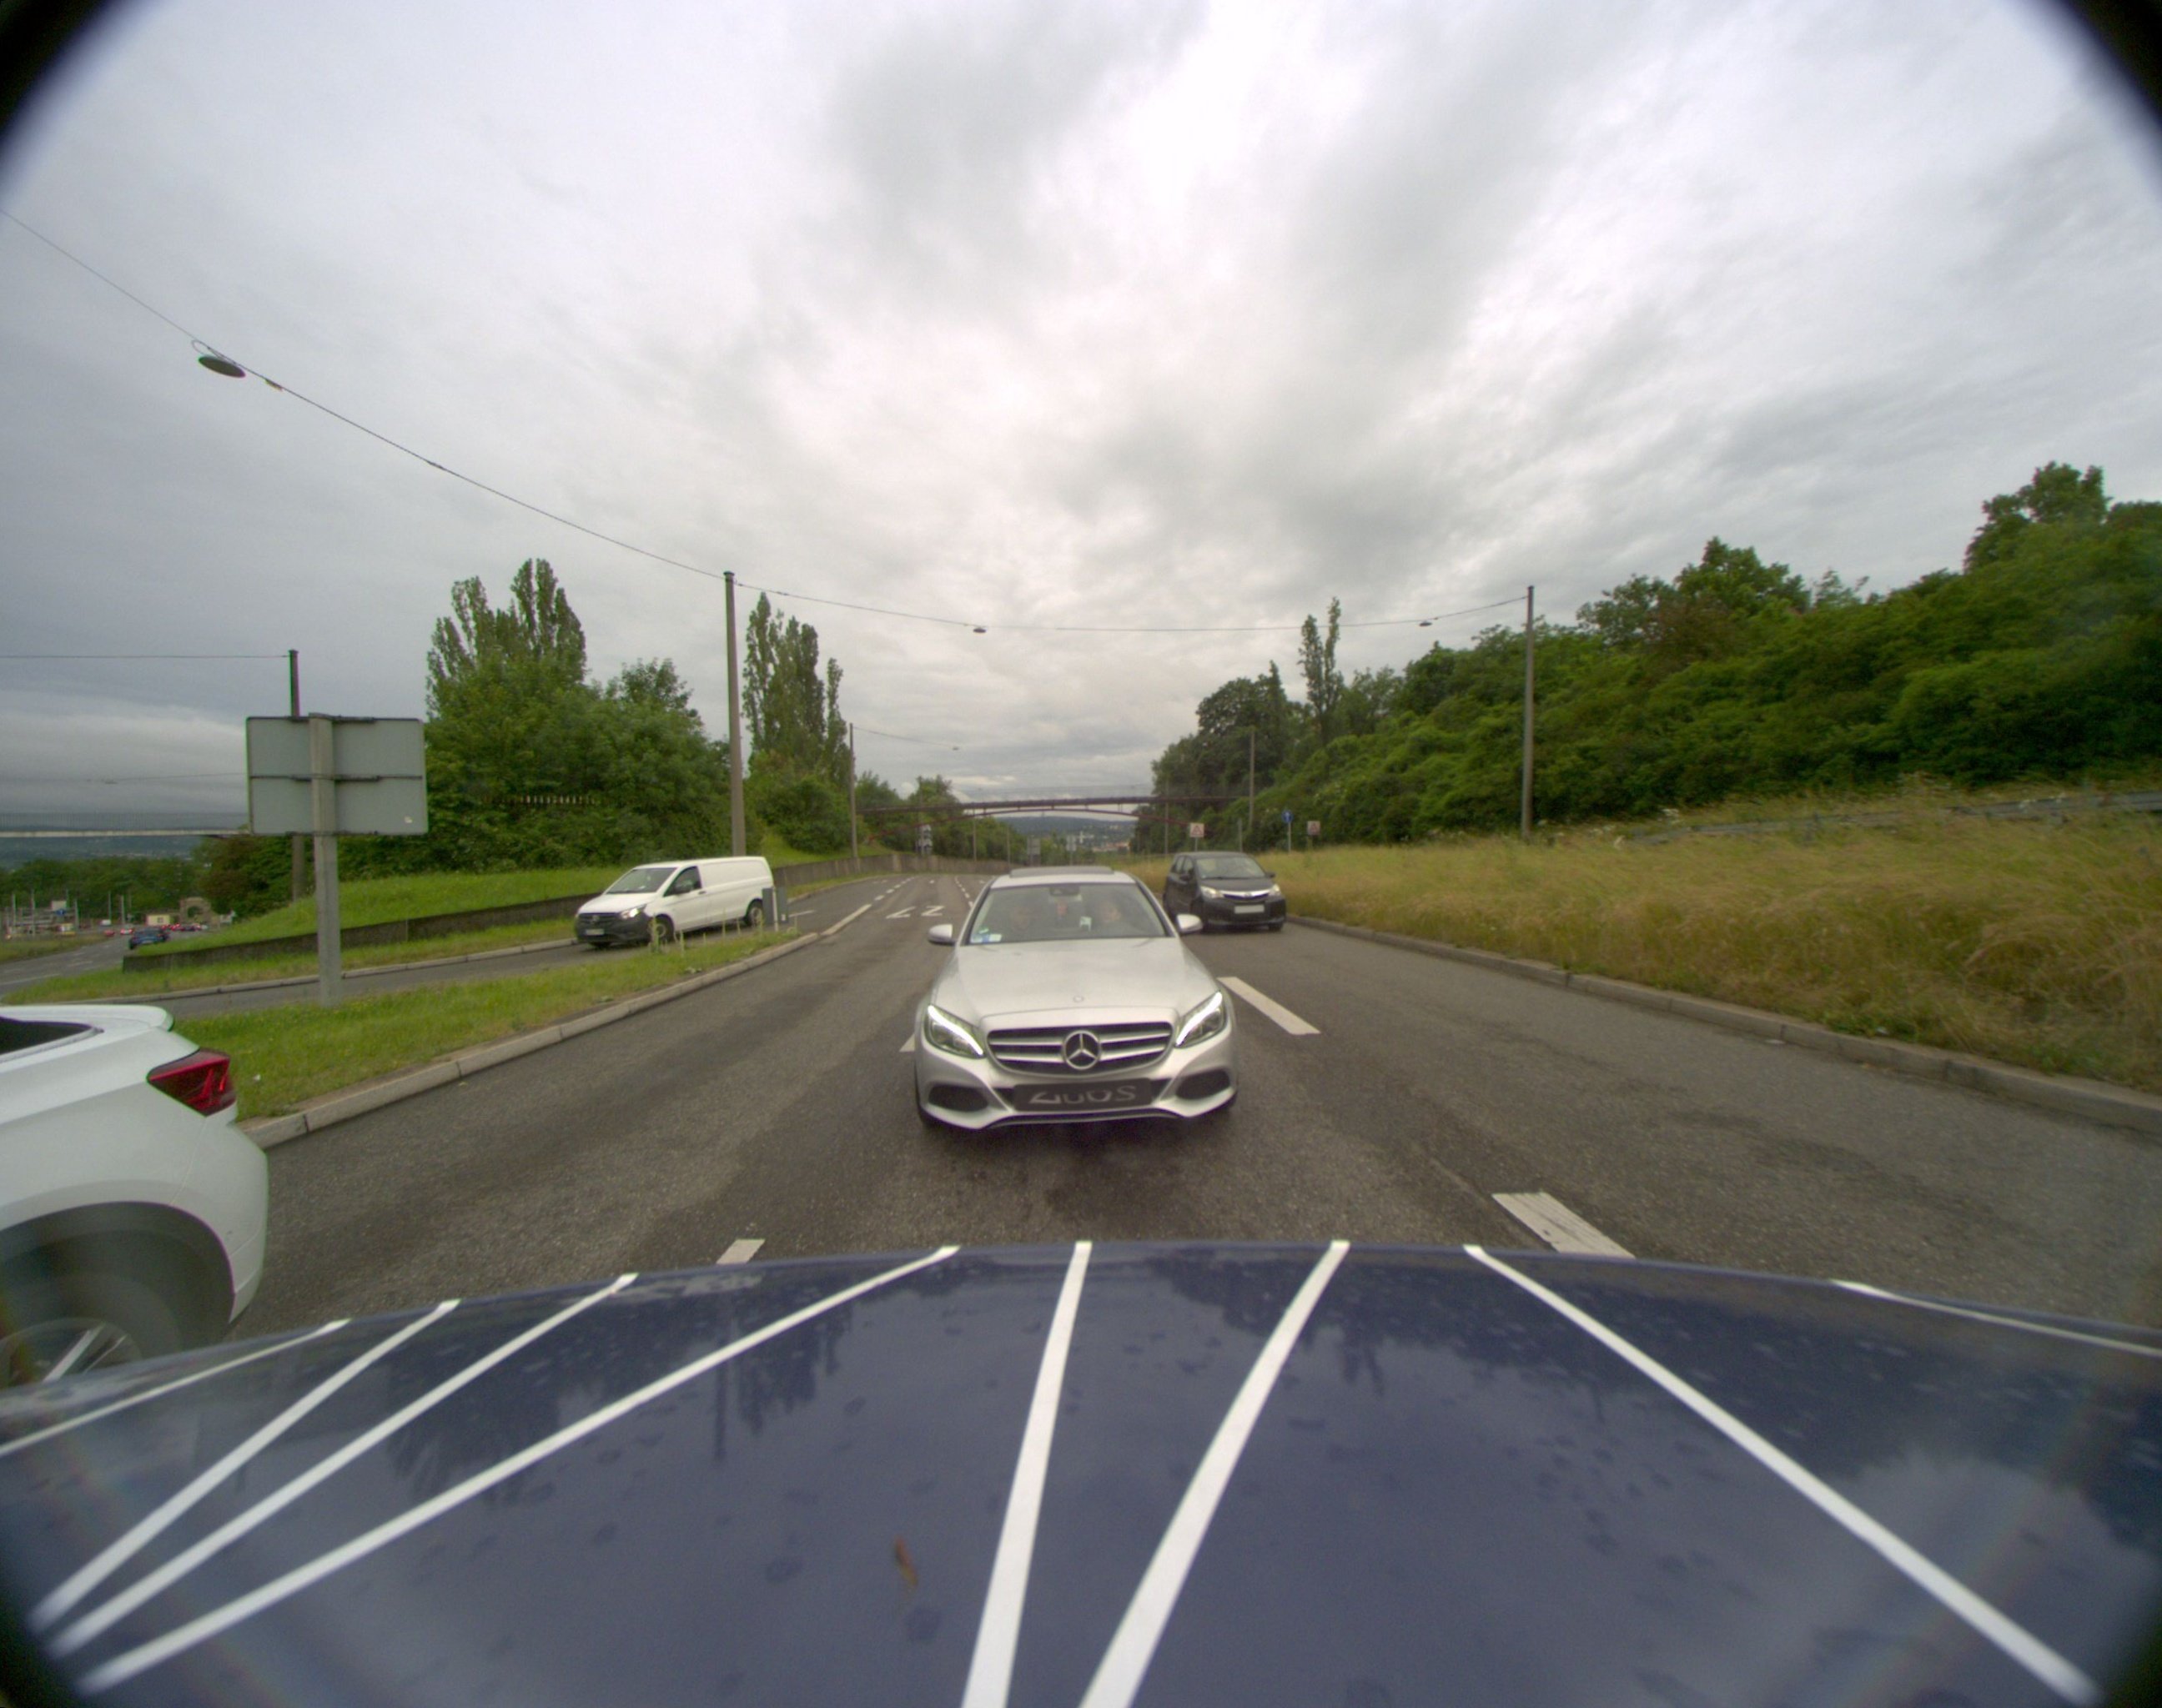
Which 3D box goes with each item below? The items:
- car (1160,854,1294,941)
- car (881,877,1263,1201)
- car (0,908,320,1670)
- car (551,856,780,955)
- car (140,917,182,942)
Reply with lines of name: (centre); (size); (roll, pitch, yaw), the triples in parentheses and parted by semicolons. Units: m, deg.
car: (2.850, 0.800, 15.631); (1.647, 1.495, 3.777); (-3, 0, -5)
car: (-0.210, 0.980, 5.887); (1.895, 1.361, 4.132); (-2, 1, -5)
car: (-3.089, 0.999, 0.123); (1.718, 1.544, 4.227); (-2, 1, -3)
car: (-9.941, 1.135, 18.756); (1.997, 1.837, 4.828); (-6, 0, 15)
car: (-70.065, 5.732, 57.906); (4.280, 1.467, 1.703); (-1, 2, 43)
